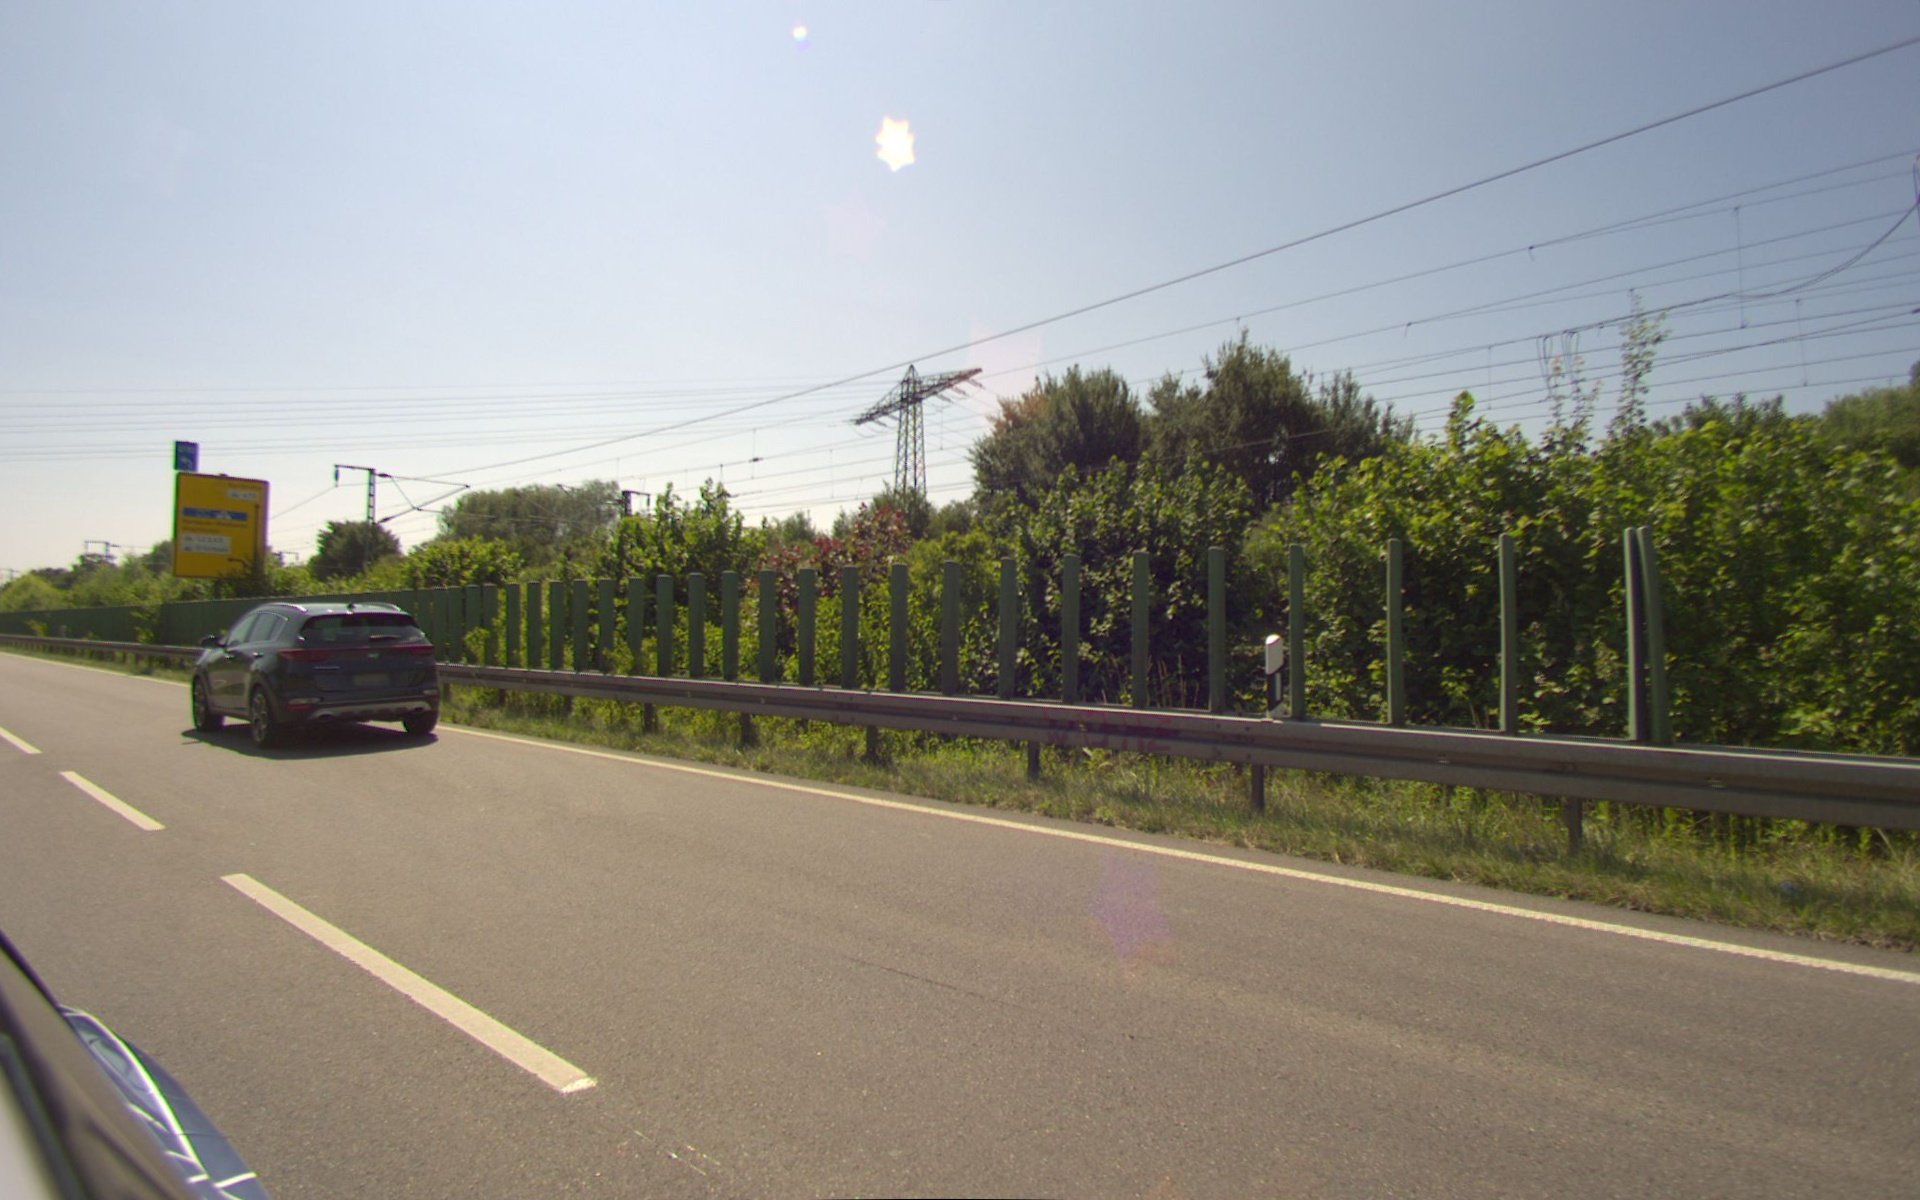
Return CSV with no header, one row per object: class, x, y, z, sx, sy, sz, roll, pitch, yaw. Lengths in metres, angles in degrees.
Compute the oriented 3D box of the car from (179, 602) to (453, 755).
car,-8.205,0.869,12.738,4.369,1.599,1.782,-1,-1,41
